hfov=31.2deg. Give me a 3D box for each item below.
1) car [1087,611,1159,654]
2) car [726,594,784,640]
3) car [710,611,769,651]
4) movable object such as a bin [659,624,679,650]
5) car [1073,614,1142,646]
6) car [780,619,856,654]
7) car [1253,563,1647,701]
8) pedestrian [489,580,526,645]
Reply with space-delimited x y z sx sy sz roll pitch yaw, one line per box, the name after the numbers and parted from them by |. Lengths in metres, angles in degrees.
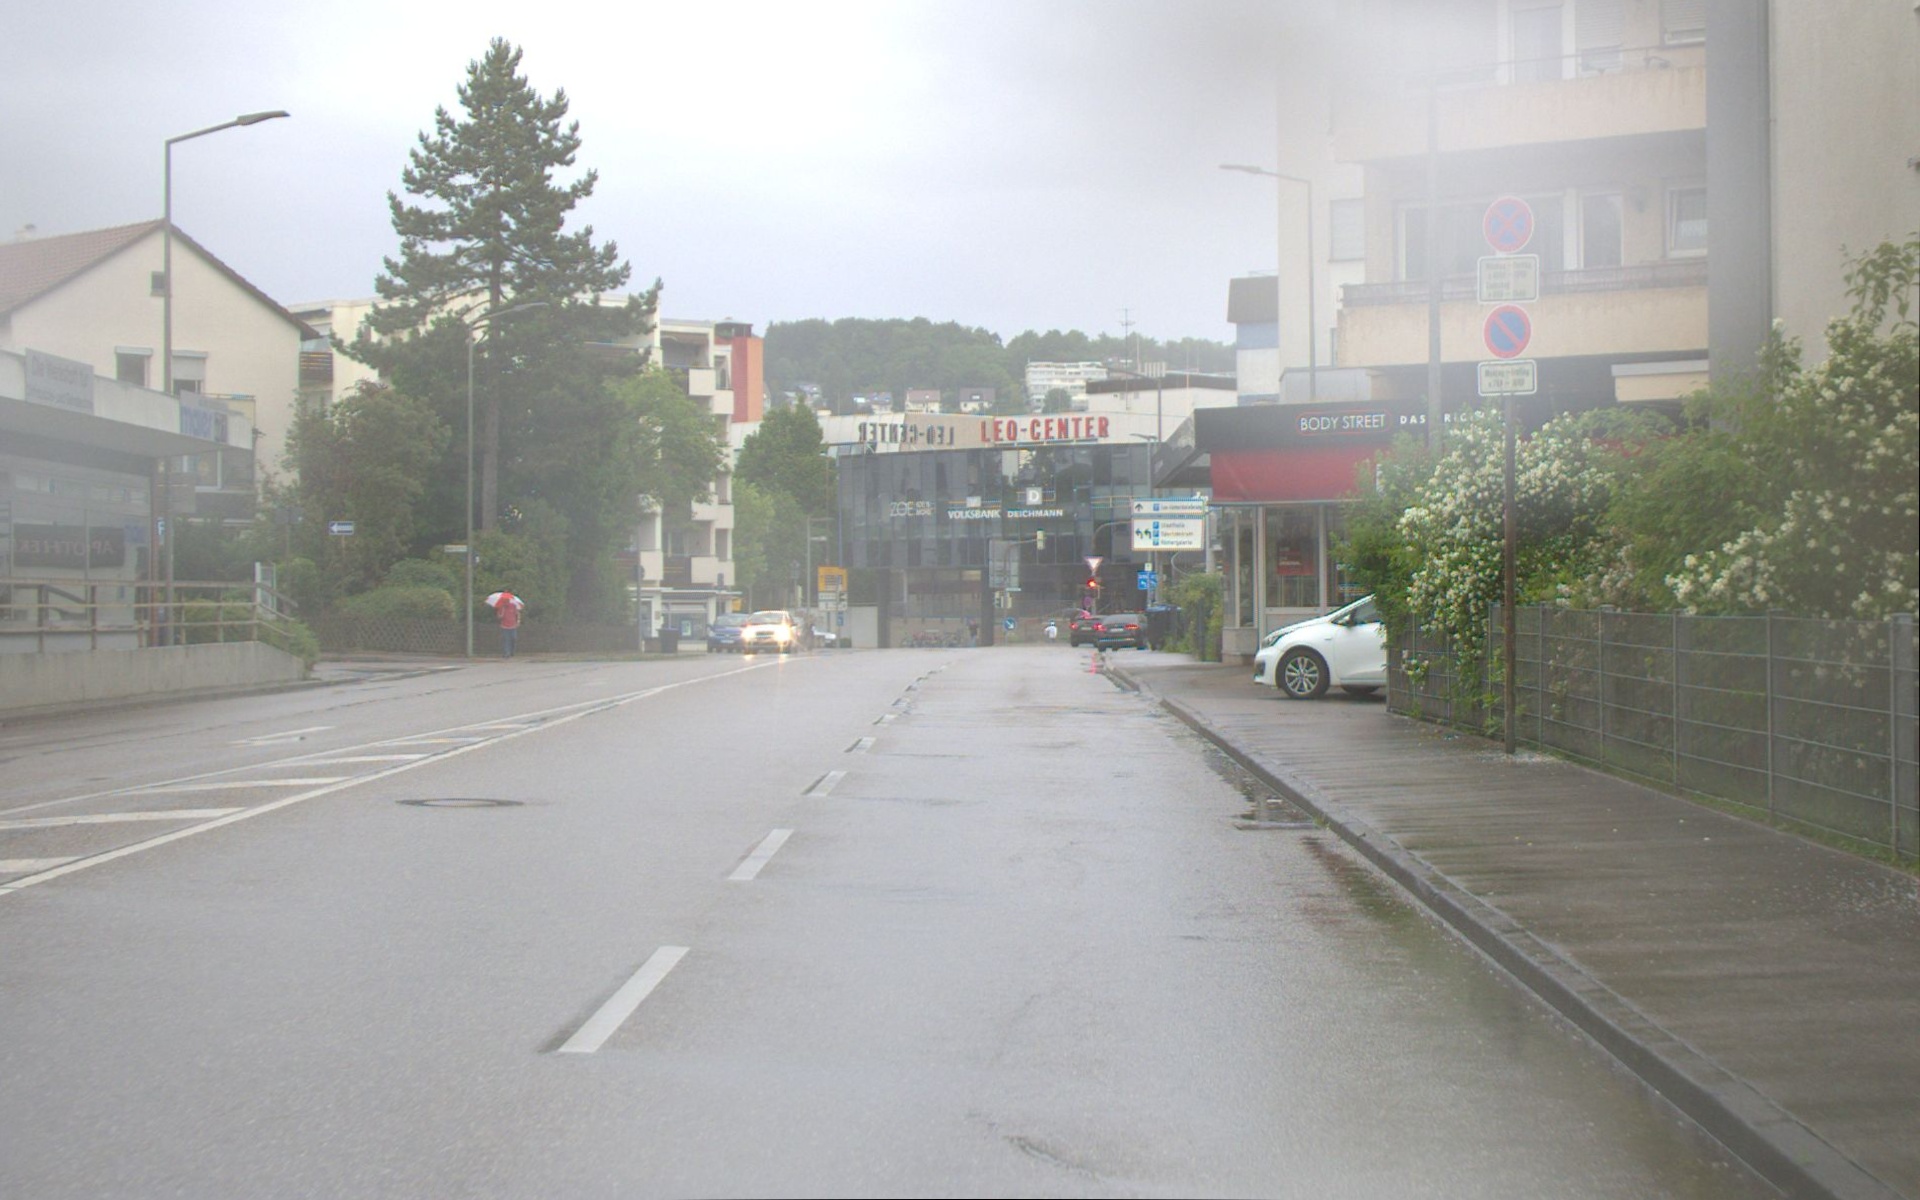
6.442 1.301 135.626 1.995 1.528 4.643 1 -2 13 | car
-6.931 0.566 116.443 1.697 1.404 4.000 -2 1 -1 | car
-8.461 1.184 132.141 1.652 1.516 4.323 0 0 4 | car
-10.824 1.377 128.055 0.648 0.962 0.682 0 -1 4 | movable object such as a bin
6.661 1.338 155.124 1.807 1.414 3.995 0 -1 24 | car
-7.653 1.956 184.565 1.993 1.507 4.433 3 1 -33 | car
5.838 0.342 41.036 4.264 1.489 1.870 1 2 30 | car
-11.221 0.317 85.273 0.869 1.601 1.103 0 -1 -5 | pedestrian
